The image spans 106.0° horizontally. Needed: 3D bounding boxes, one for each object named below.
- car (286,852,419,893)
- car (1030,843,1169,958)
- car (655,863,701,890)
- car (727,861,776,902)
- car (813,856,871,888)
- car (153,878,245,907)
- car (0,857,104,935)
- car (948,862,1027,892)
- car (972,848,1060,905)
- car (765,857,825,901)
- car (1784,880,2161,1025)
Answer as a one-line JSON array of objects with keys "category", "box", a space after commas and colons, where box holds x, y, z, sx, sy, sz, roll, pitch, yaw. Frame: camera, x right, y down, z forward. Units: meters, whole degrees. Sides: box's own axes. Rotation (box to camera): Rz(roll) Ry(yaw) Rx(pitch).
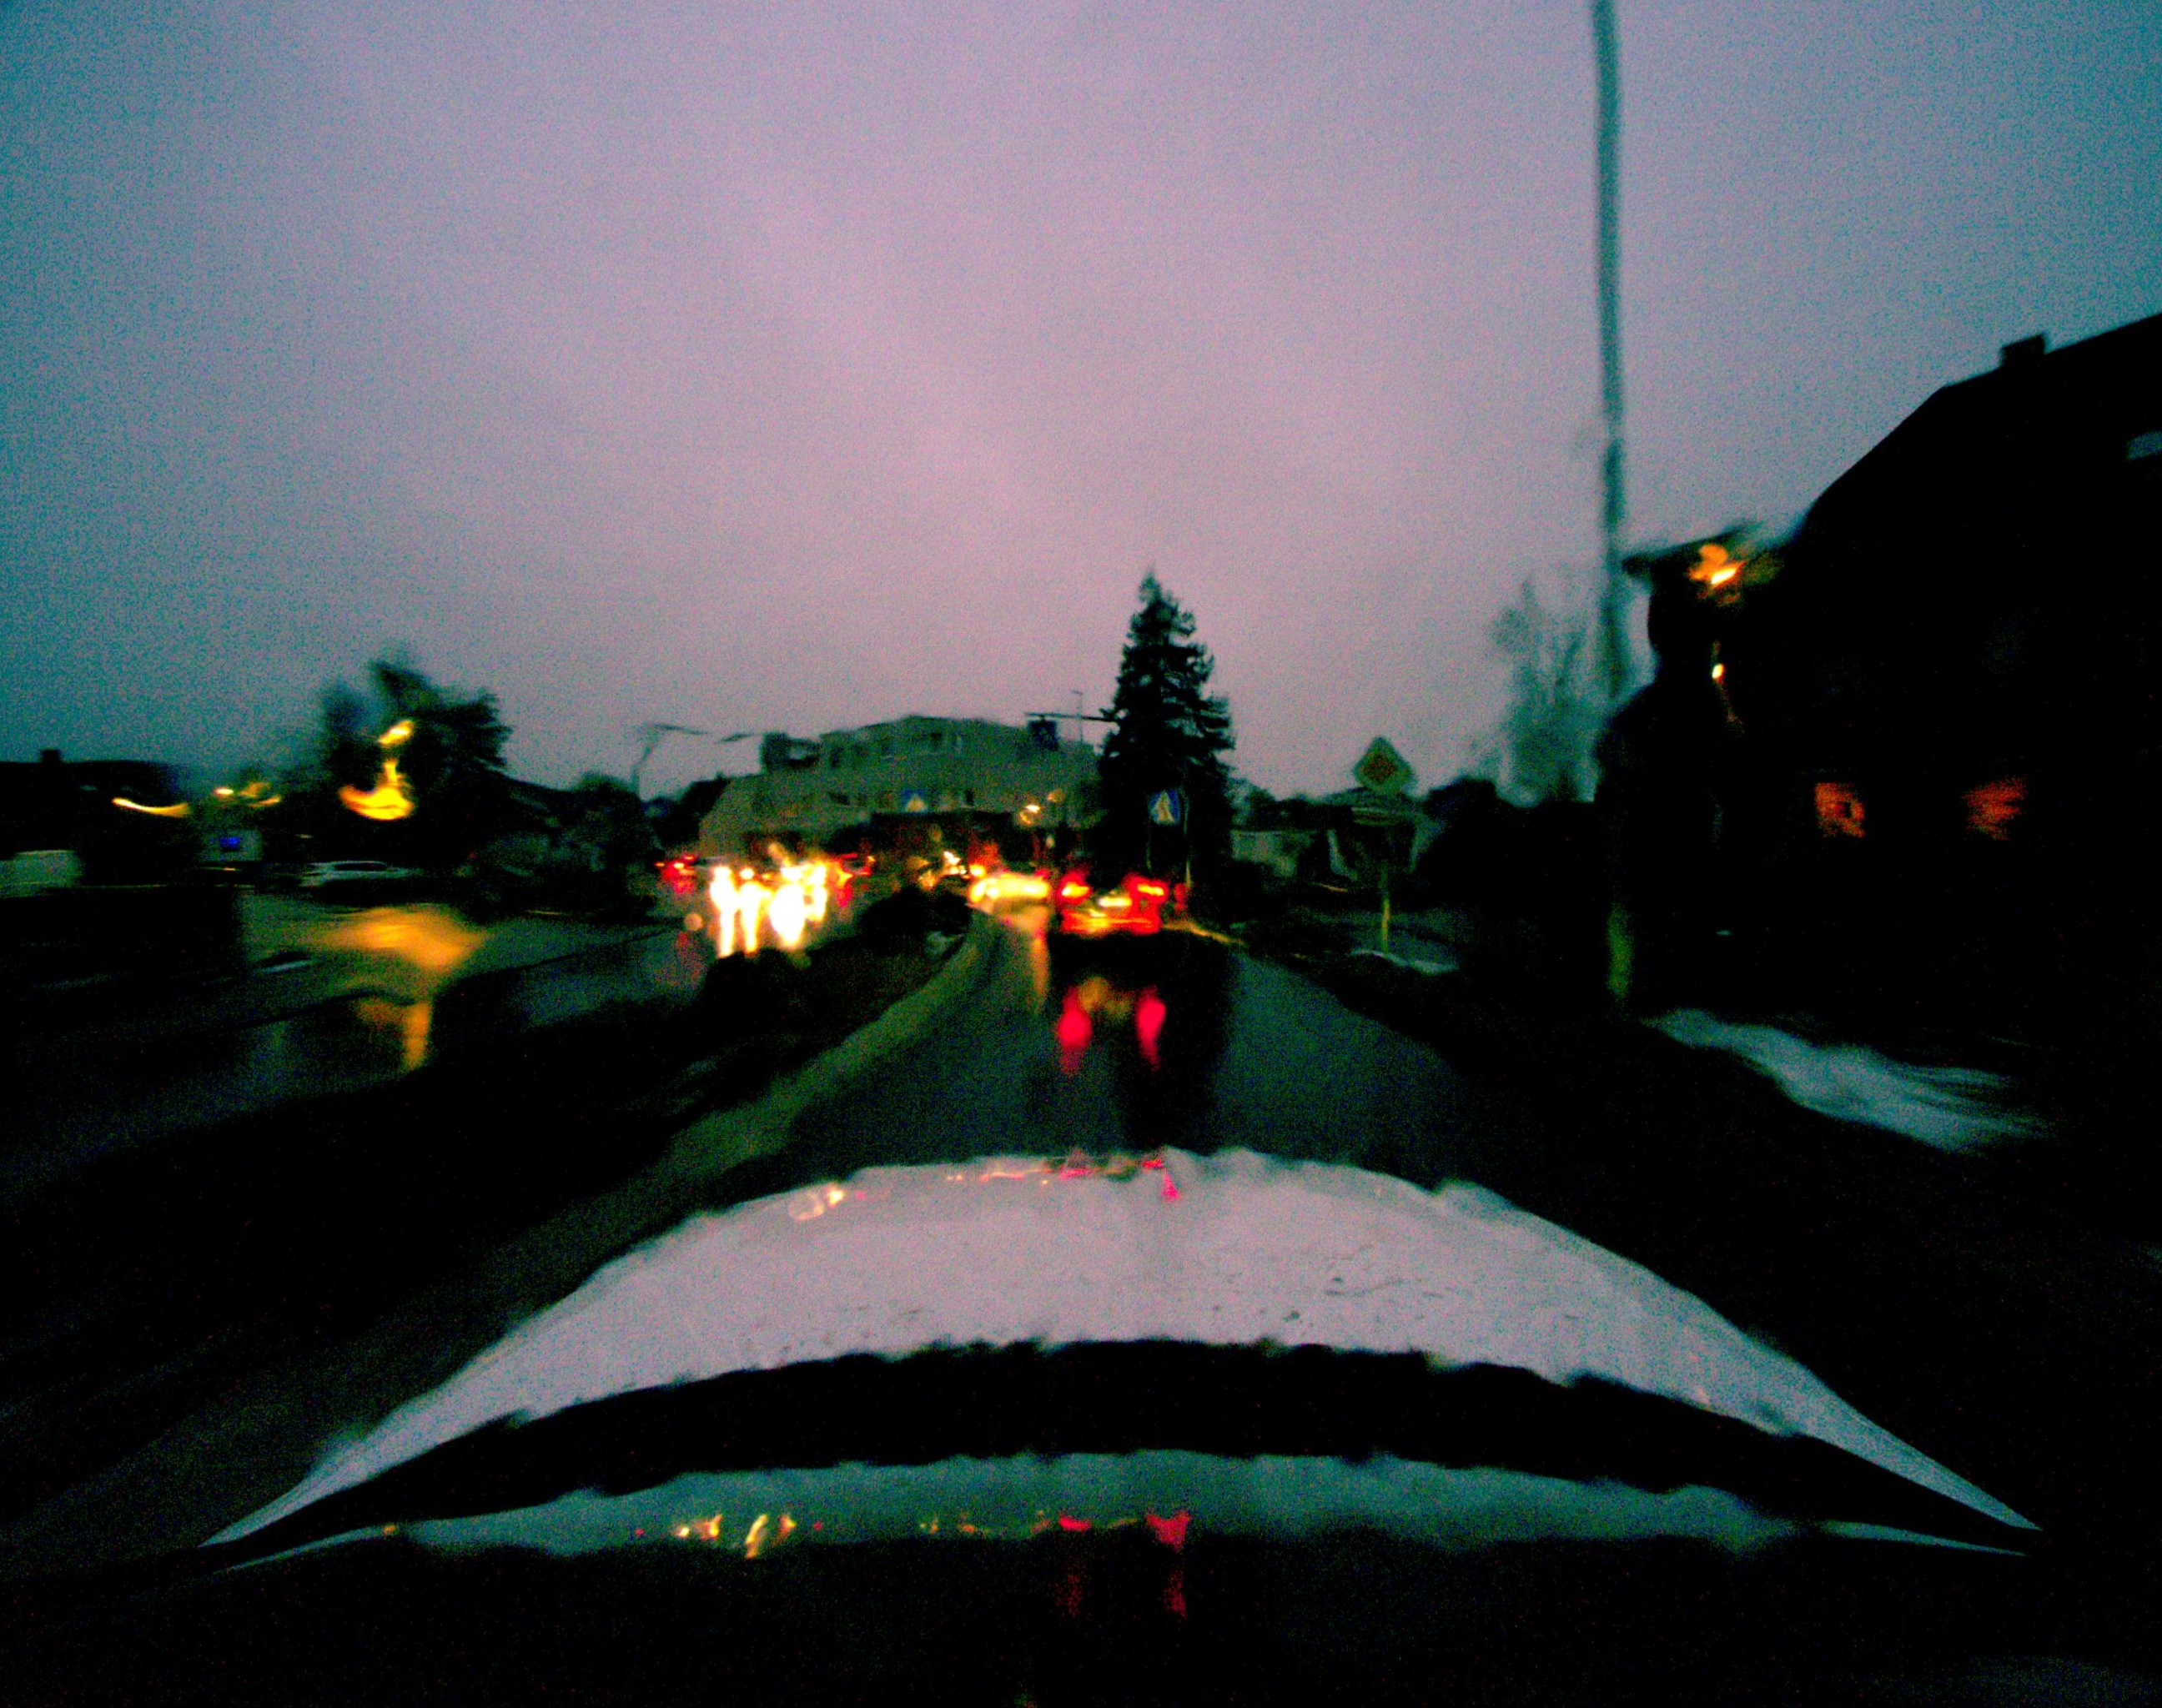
[{"category": "car", "box": [-33.974, 0.813, 38.074, 1.684, 1.747, 4.384, 0, 1, 37]}, {"category": "car", "box": [0.173, 0.688, 14.536, 1.942, 1.718, 3.991, -1, 1, -6]}, {"category": "car", "box": [-30.871, 1.663, 62.331, 2.081, 1.833, 4.517, -1, 1, -41]}, {"category": "car", "box": [-19.028, 1.522, 46.874, 2.176, 2.060, 4.530, -1, 1, -28]}, {"category": "car", "box": [-14.015, 1.014, 47.644, 2.077, 1.717, 4.525, -1, 1, -32]}, {"category": "car", "box": [-57.162, 2.439, 52.812, 1.617, 1.608, 3.936, 0, 1, 40]}, {"category": "car", "box": [-30.757, 1.133, 21.925, 2.007, 2.134, 5.457, 0, -1, 32]}, {"category": "car", "box": [-5.389, 1.303, 47.350, 1.884, 1.572, 4.600, 1, 1, 38]}, {"category": "car", "box": [-2.287, 0.668, 27.482, 2.167, 1.689, 4.548, 0, 1, -15]}, {"category": "car", "box": [-14.902, 1.247, 42.302, 2.176, 2.060, 4.529, -1, 1, -29]}, {"category": "car", "box": [11.170, 1.088, 10.068, 1.291, 1.383, 3.543, 0, 0, -32]}]
